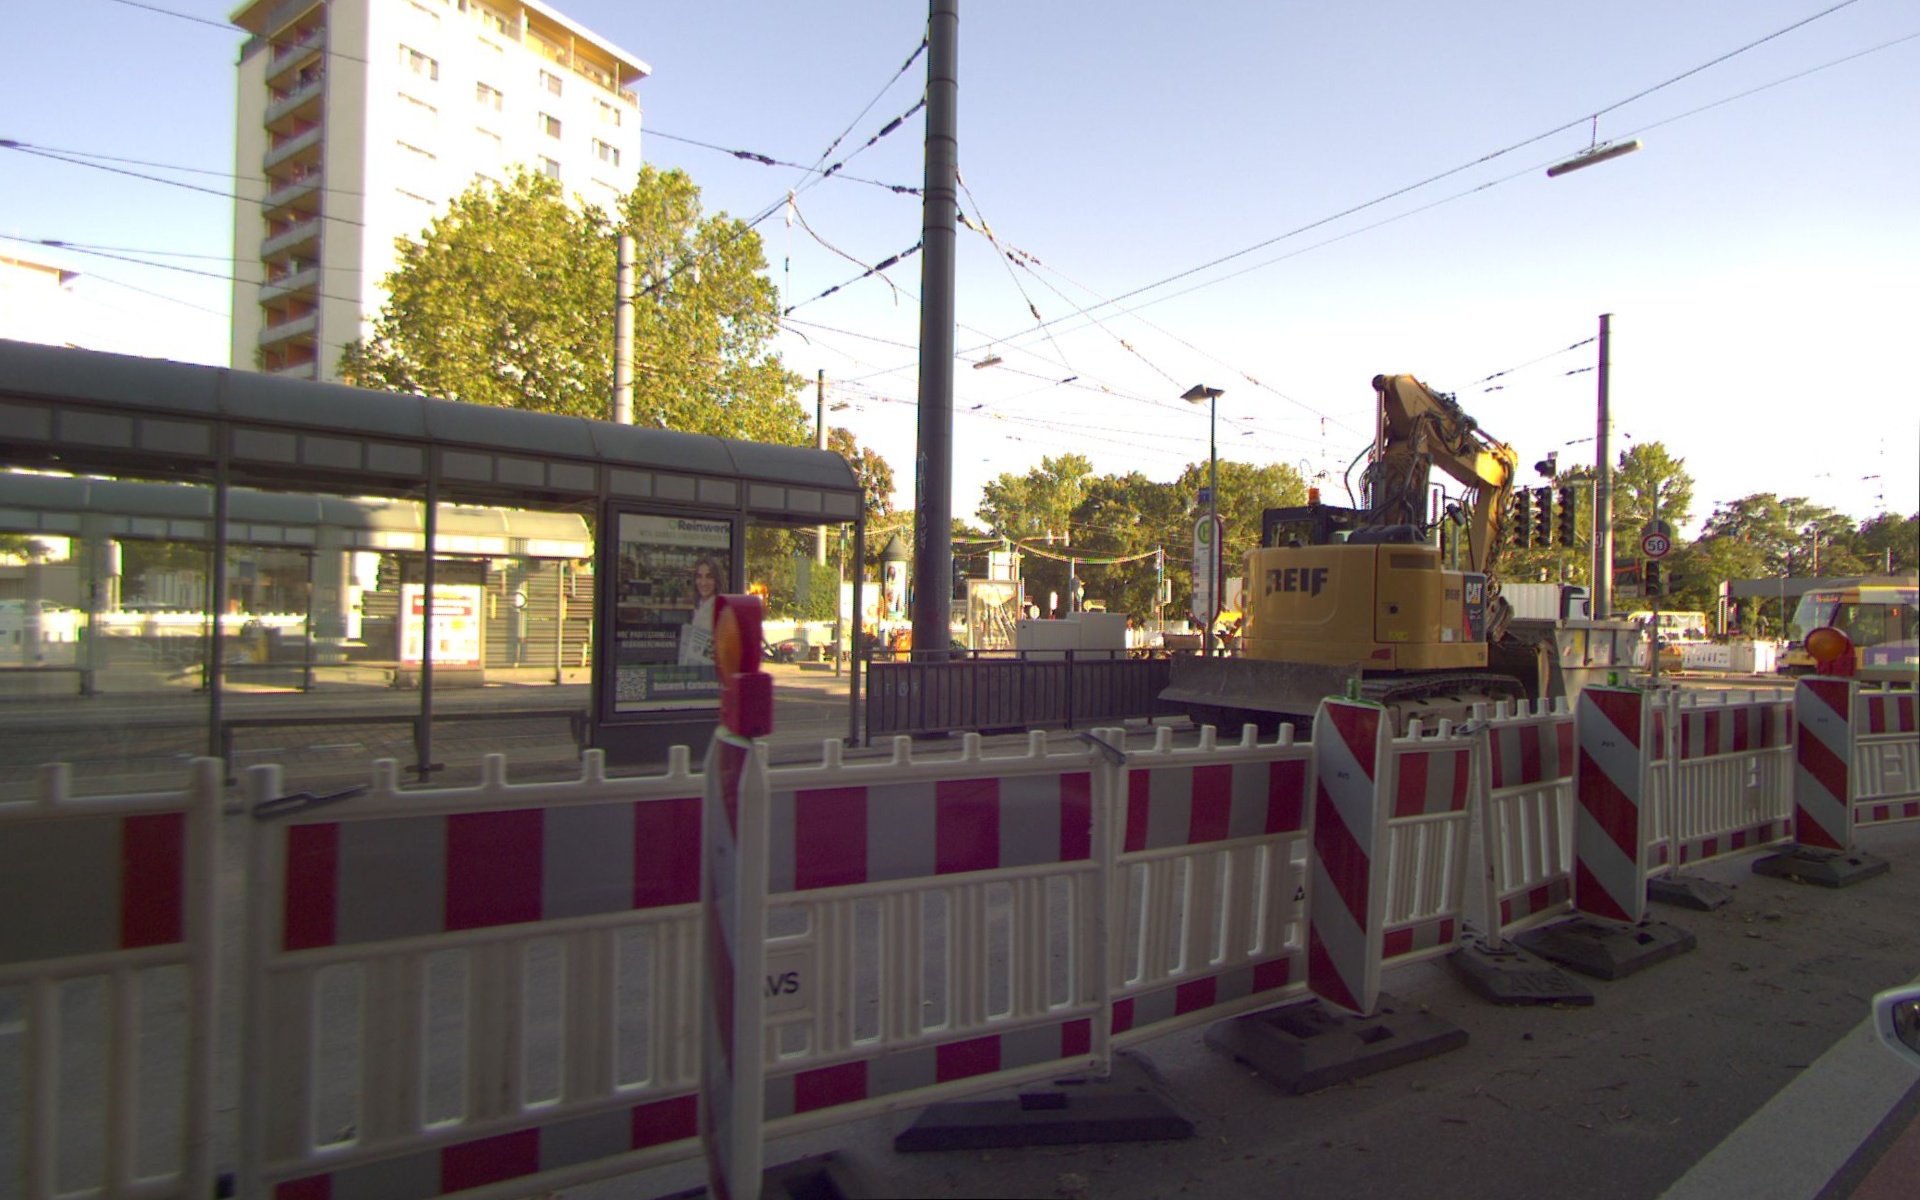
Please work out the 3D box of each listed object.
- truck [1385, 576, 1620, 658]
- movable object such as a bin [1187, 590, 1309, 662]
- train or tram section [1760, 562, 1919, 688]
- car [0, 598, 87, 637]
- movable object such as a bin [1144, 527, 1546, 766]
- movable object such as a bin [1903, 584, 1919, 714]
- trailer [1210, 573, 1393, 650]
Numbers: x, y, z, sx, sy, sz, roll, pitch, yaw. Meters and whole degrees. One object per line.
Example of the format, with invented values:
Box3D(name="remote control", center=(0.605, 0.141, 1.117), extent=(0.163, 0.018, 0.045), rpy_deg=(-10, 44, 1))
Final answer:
Box3D(name="truck", center=(27.554, 0.815, 51.659), extent=(10.227, 3.840, 2.901), rpy_deg=(1, -1, 20))
Box3D(name="movable object such as a bin", center=(11.361, 1.048, 39.592), extent=(4.549, 2.674, 2.139), rpy_deg=(2, -1, -32))
Box3D(name="train or tram section", center=(31.992, 0.900, 29.980), extent=(13.124, 3.579, 2.861), rpy_deg=(2, -1, 7))
Box3D(name="car", center=(-50.292, 0.957, 54.161), extent=(1.963, 2.040, 4.439), rpy_deg=(1, -1, 27))
Box3D(name="movable object such as a bin", center=(4.888, 0.504, 12.471), extent=(4.861, 2.348, 2.621), rpy_deg=(2, 0, -40))
Box3D(name="movable object such as a bin", center=(19.502, 0.934, 17.228), extent=(5.111, 2.287, 1.998), rpy_deg=(1, 1, -7))
Box3D(name="trailer", center=(18.832, 0.569, 55.752), extent=(9.088, 3.848, 2.888), rpy_deg=(2, 0, 33))
